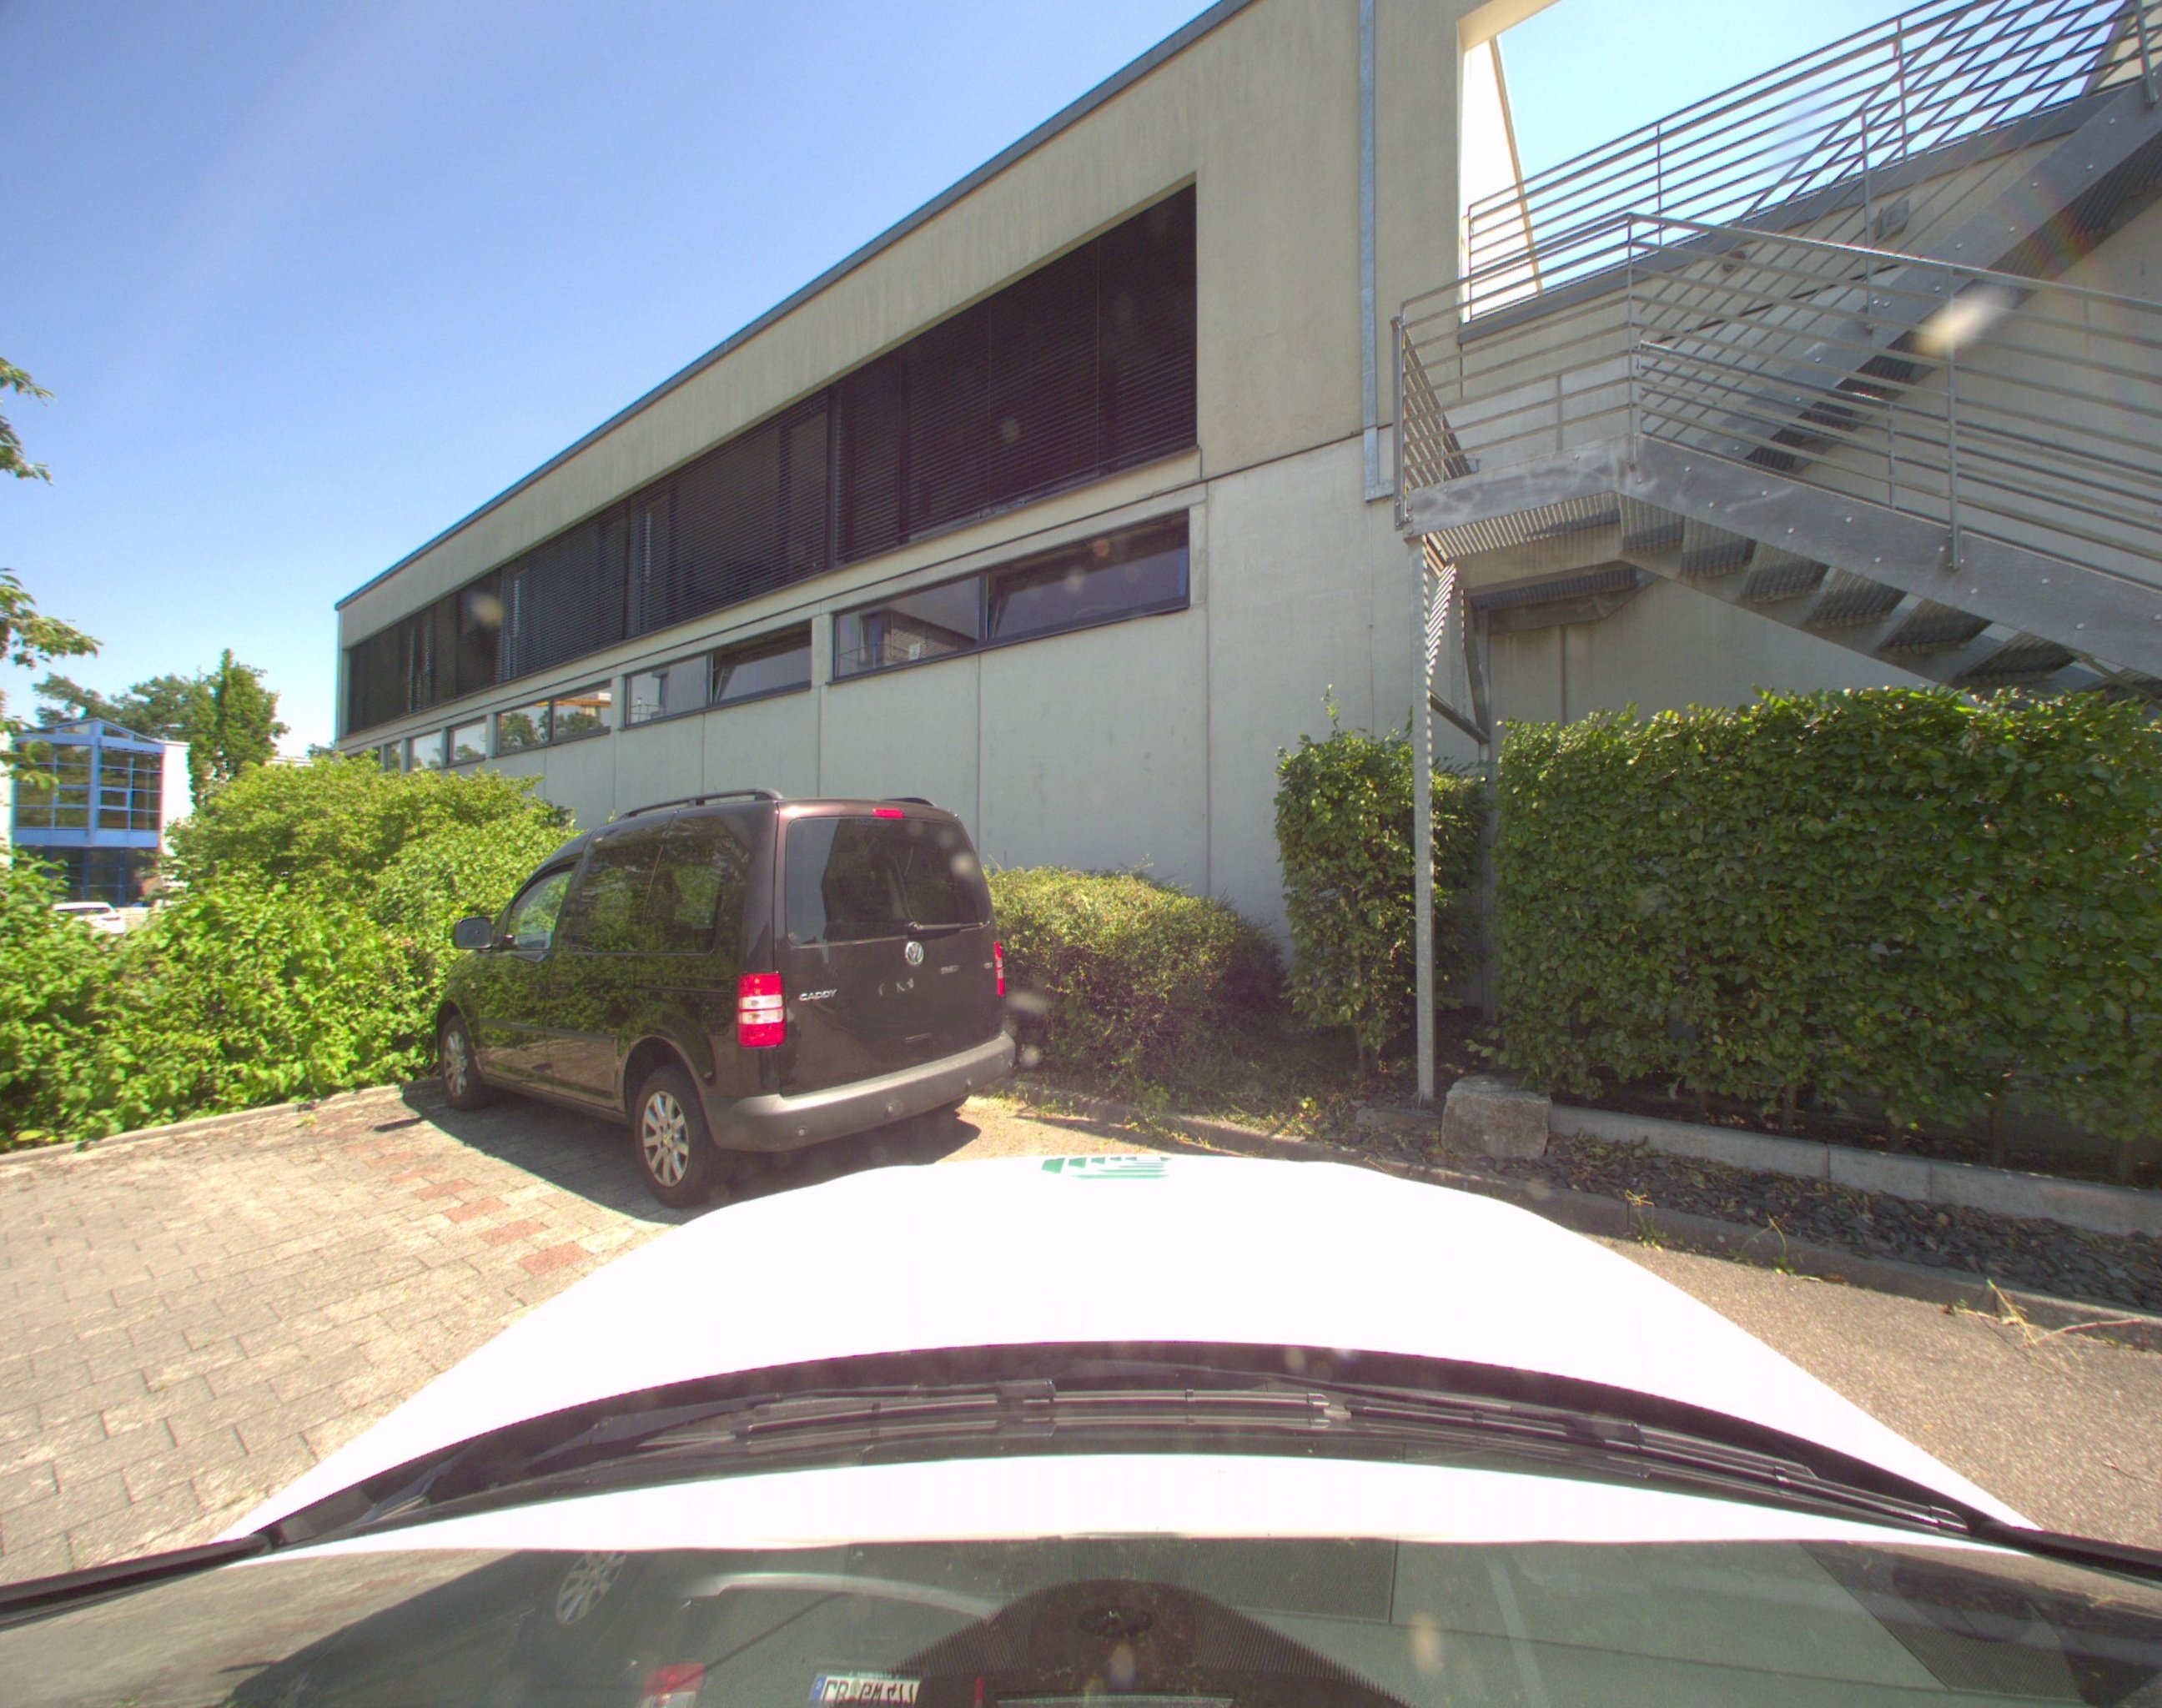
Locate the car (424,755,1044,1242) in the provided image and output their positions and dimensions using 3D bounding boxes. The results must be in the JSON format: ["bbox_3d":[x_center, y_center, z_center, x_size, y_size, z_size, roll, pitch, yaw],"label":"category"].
[{"bbox_3d":[-2.337,0.581,5.024,4.018,1.884,1.689,-1,-1,36],"label":"car"}]
